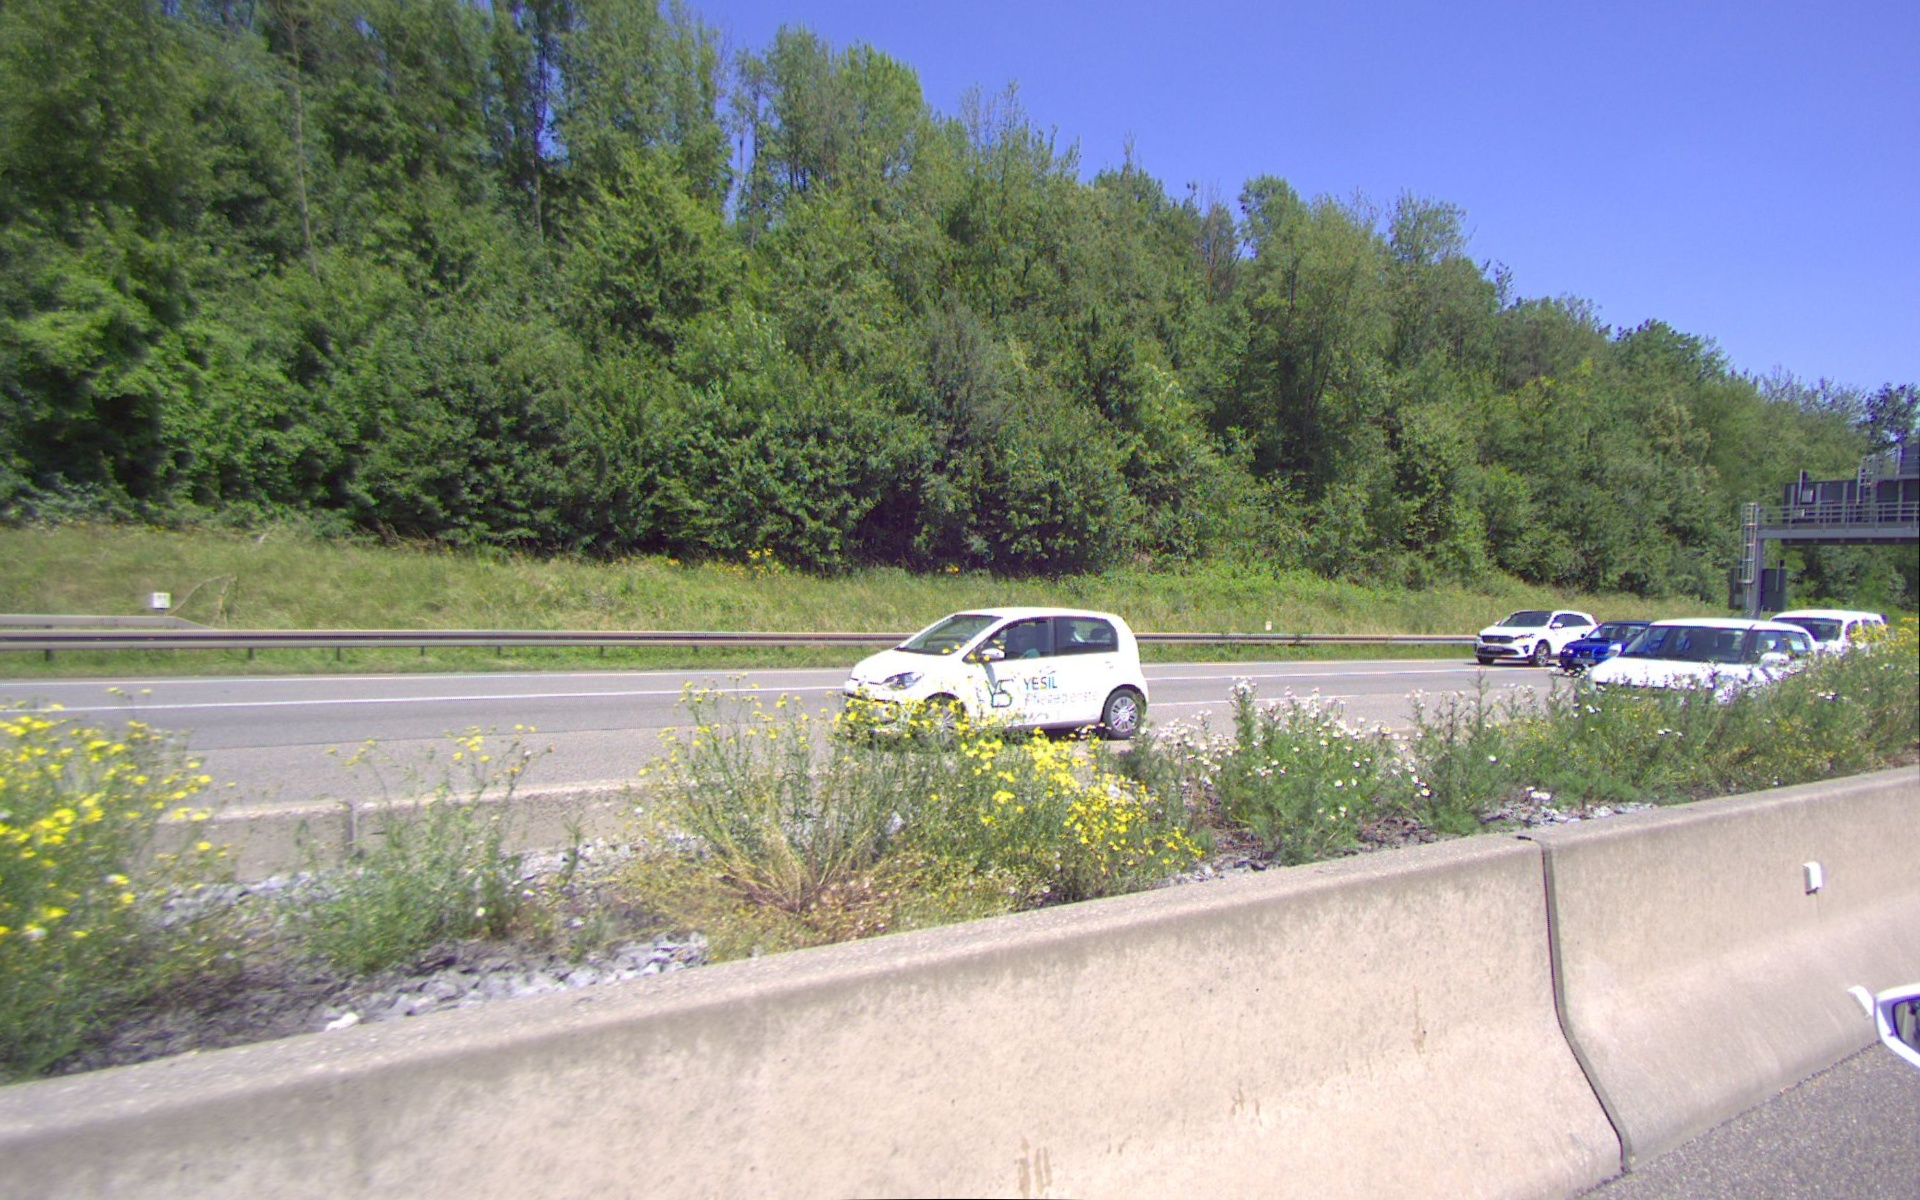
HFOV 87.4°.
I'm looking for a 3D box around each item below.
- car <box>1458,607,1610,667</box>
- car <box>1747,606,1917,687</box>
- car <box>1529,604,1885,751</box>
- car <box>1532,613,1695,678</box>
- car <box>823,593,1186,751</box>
[{"bbox_3d":[17.762,1.125,31.037,4.712,1.714,1.984,1,0,-31],"label":"car"},{"bbox_3d":[21.156,1.089,24.342,4.227,1.778,1.875,1,0,-31],"label":"car"},{"bbox_3d":[9.382,0.863,12.537,4.604,1.523,1.929,1,0,-31],"label":"car"},{"bbox_3d":[16.850,1.146,25.883,3.953,1.511,1.984,1,0,-31],"label":"car"},{"bbox_3d":[0.551,0.731,11.409,3.837,1.518,1.667,1,0,-30],"label":"car"}]
